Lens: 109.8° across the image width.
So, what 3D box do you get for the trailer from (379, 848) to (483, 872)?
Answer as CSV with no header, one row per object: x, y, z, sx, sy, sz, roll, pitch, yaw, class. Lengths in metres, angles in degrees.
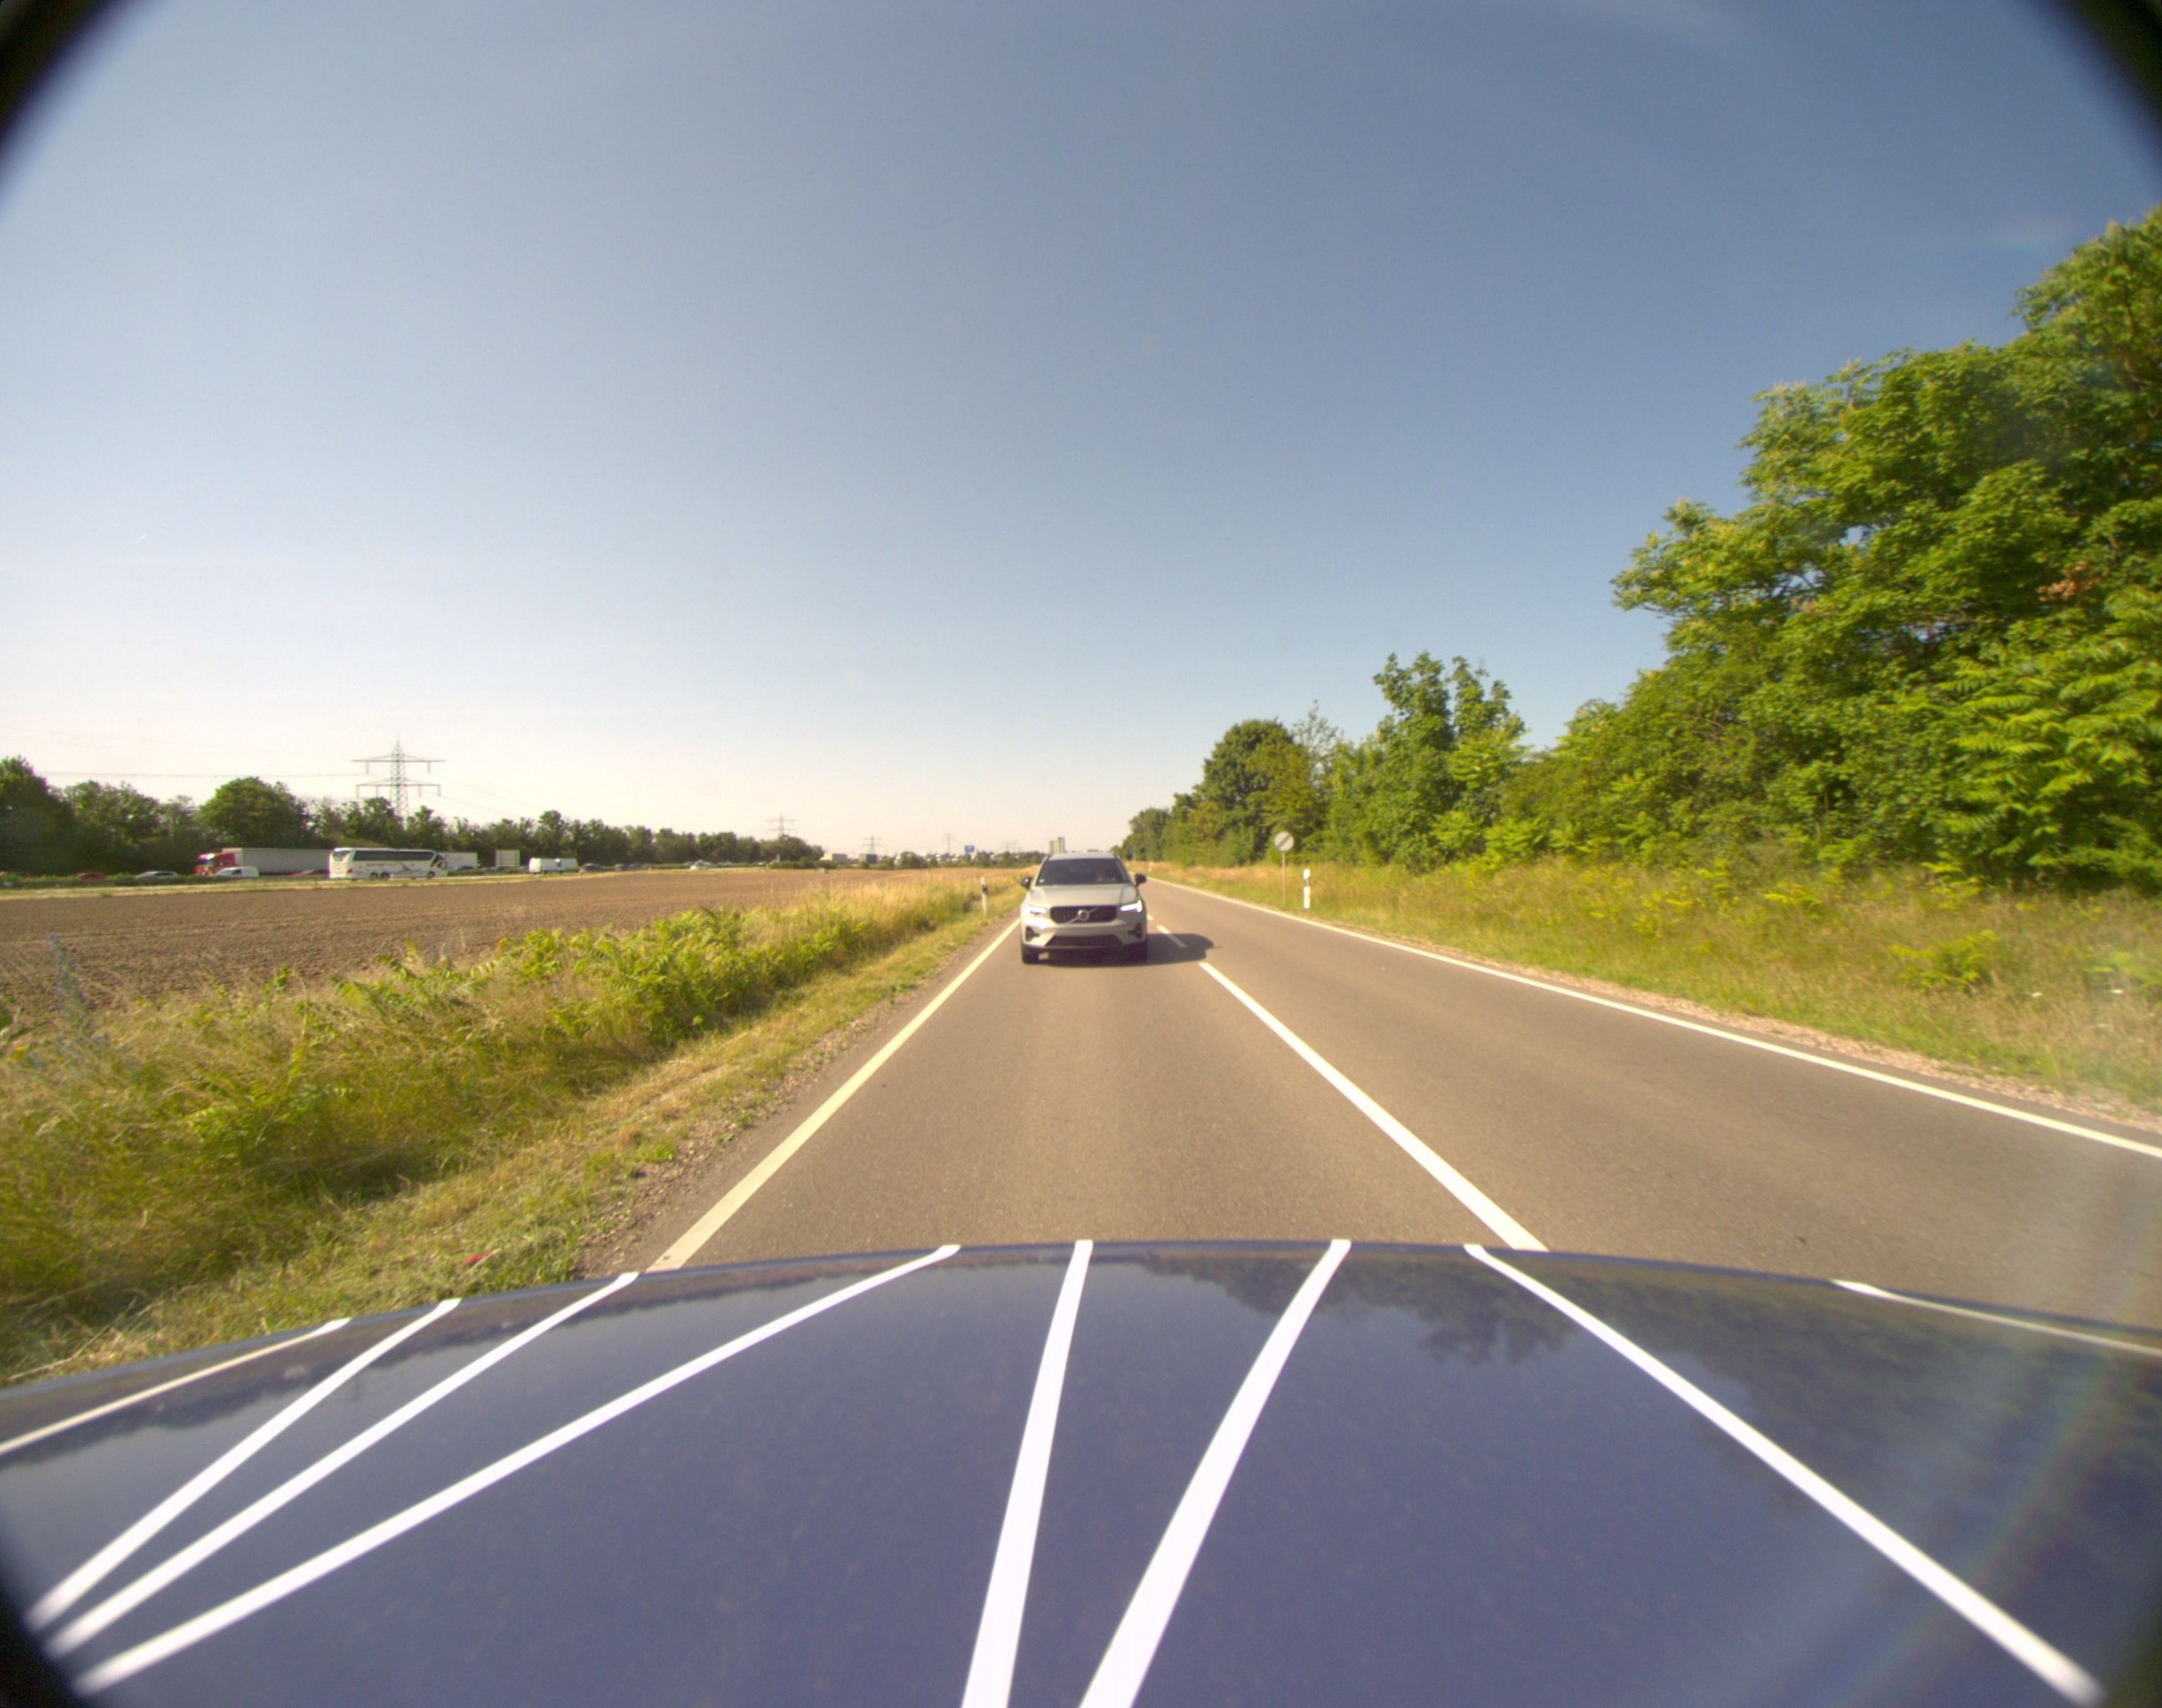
-100.940,0.850,118.576,3.210,3.510,15.082,0,0,0,trailer

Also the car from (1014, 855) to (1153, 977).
0.073,0.857,12.446,1.840,1.627,4.136,-2,0,1,car

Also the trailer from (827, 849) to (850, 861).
-79.784,0.383,250.497,3.111,3.826,13.719,-1,0,1,trailer

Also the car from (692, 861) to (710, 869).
-81.753,2.372,163.602,1.707,1.534,4.196,-2,1,0,car

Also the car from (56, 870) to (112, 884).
-101.396,2.329,77.294,1.344,1.212,3.291,-2,0,-1,car

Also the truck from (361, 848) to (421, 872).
-100.949,0.838,111.354,3.210,3.510,6.109,0,0,0,truck

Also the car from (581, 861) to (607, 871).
-82.458,2.019,128.721,1.707,1.464,4.210,-2,0,1,car

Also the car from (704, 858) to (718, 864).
-98.476,1.893,202.182,1.707,1.500,4.094,-2,0,0,car

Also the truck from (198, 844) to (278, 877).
-101.246,0.765,91.427,2.953,3.711,5.869,-1,0,0,truck

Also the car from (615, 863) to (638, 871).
-86.723,2.443,144.965,1.707,1.365,4.094,-2,0,1,car

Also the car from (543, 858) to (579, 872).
-95.764,2.069,140.038,2.042,2.432,6.414,-2,0,1,car

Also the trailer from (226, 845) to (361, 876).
-101.212,0.758,98.202,2.953,3.711,13.782,-1,0,0,trailer

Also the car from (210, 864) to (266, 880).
-95.014,1.987,85.728,1.707,1.629,4.094,-2,0,0,car

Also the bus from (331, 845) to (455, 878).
-86.083,0.927,95.698,2.469,3.781,14.547,-1,0,-1,bus

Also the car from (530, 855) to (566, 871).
-86.974,1.456,124.075,1.998,2.358,5.521,-2,0,0,car

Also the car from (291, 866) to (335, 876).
-94.889,2.066,93.913,1.671,1.141,3.731,-2,0,0,car

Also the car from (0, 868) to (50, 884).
-95.906,1.994,67.833,1.855,1.377,4.248,-2,0,0,car
